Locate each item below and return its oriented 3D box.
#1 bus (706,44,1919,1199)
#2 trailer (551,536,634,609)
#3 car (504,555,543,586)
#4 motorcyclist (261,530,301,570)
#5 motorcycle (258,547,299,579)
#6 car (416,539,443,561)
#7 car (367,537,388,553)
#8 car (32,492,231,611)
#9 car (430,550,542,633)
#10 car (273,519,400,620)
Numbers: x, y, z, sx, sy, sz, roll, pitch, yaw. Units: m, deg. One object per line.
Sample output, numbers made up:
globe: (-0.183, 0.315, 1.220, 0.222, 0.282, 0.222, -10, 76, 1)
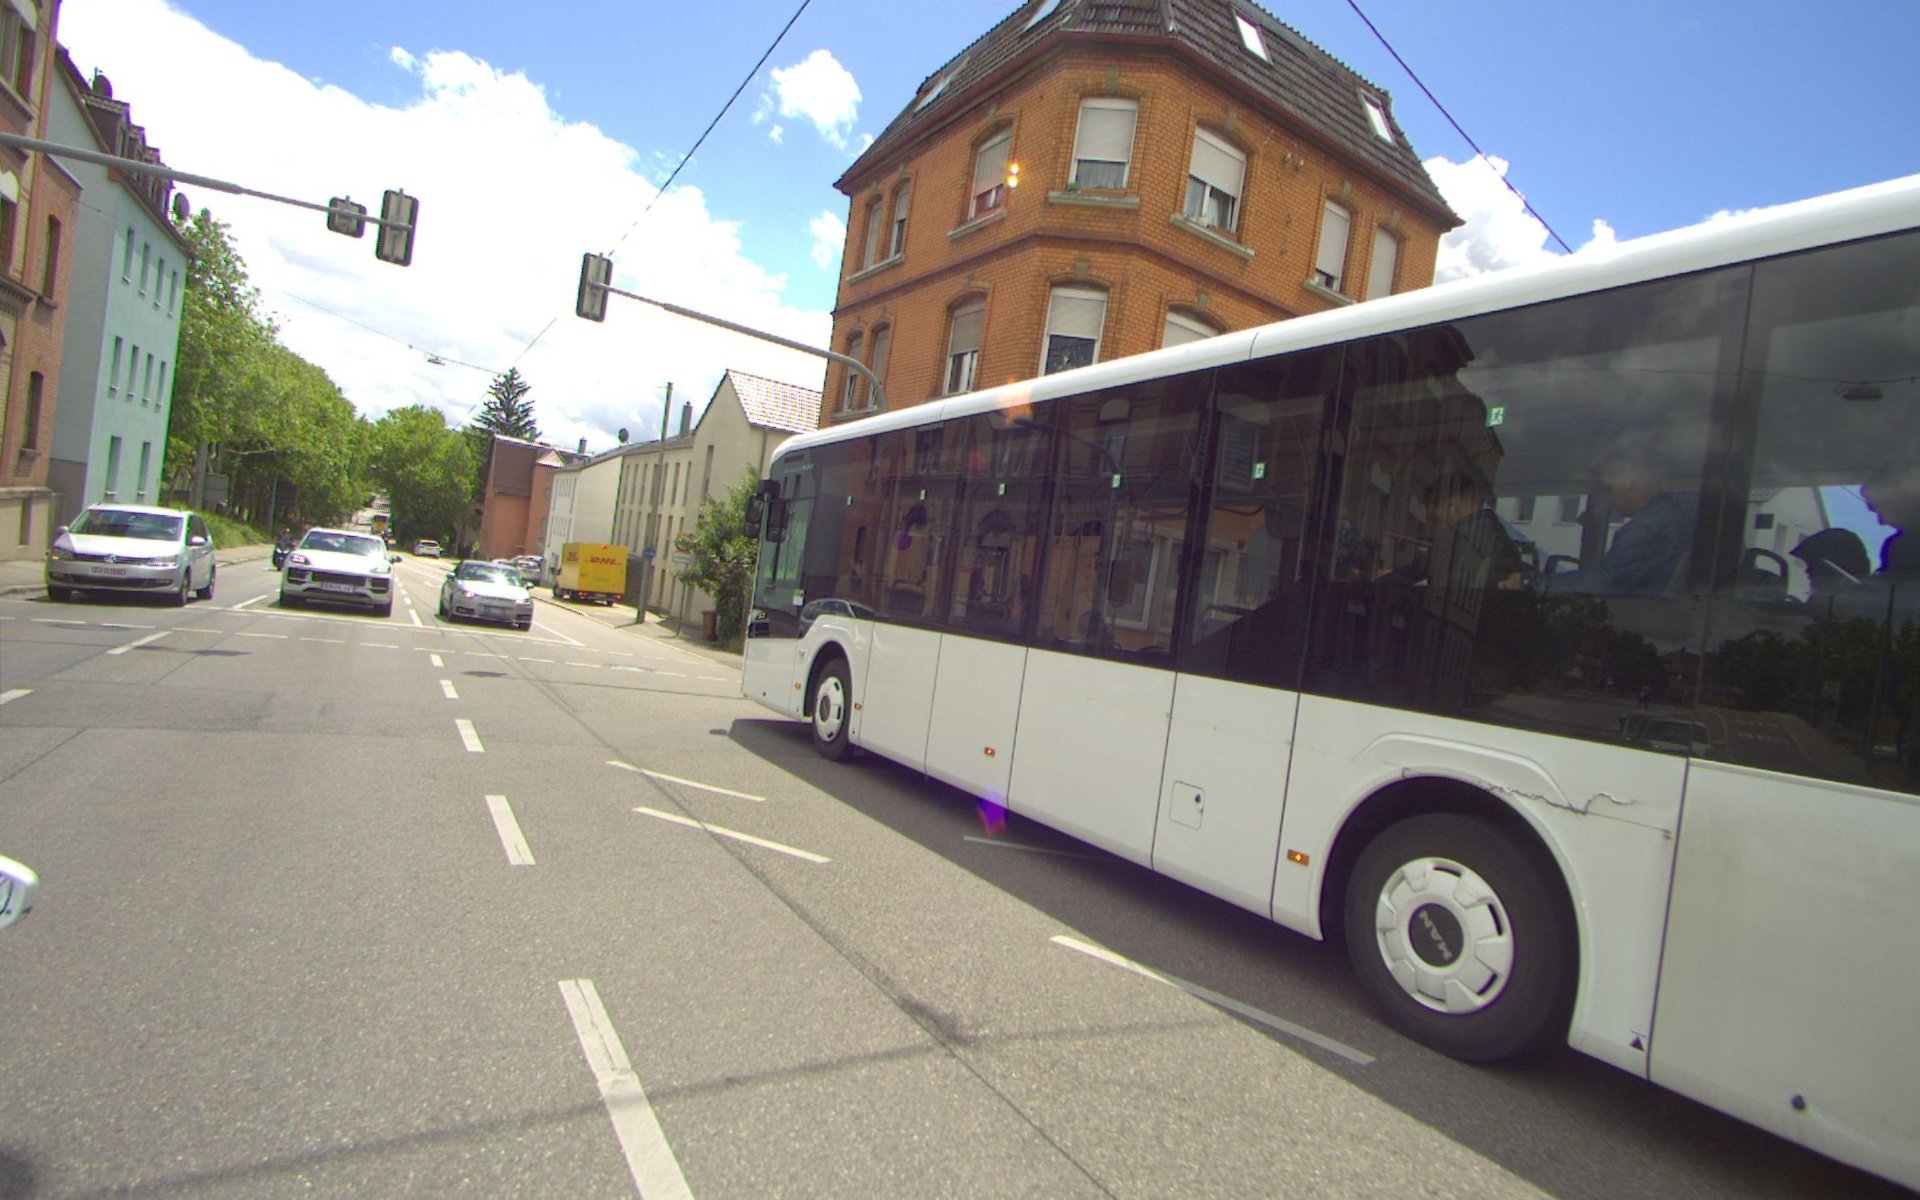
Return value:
bus: (1.752, 0.126, 7.085, 2.940, 3.427, 12.326, 8, -2, -32)
trailer: (-17.996, -1.305, 49.003, 2.961, 2.909, 6.690, 8, -2, -25)
car: (-29.099, -1.967, 67.013, 1.976, 1.738, 4.581, 7, 0, -27)
motorcyclist: (-26.583, -1.958, 39.427, 1.070, 1.396, 1.407, 8, 0, -30)
motorcycle: (-26.709, -1.478, 39.483, 0.933, 1.061, 3.300, 8, -1, -29)
car: (-50.598, -4.757, 95.967, 1.976, 1.738, 4.581, 7, 0, -27)
car: (-71.502, -6.767, 123.521, 1.978, 1.738, 4.576, 7, 0, -30)
car: (-14.625, -0.866, 18.050, 1.977, 1.739, 4.575, 4, 1, -30)
car: (-11.062, -0.245, 23.339, 1.838, 1.493, 3.939, 9, -2, -31)
car: (-13.376, -0.698, 21.754, 1.979, 1.738, 4.575, 7, 0, -31)
